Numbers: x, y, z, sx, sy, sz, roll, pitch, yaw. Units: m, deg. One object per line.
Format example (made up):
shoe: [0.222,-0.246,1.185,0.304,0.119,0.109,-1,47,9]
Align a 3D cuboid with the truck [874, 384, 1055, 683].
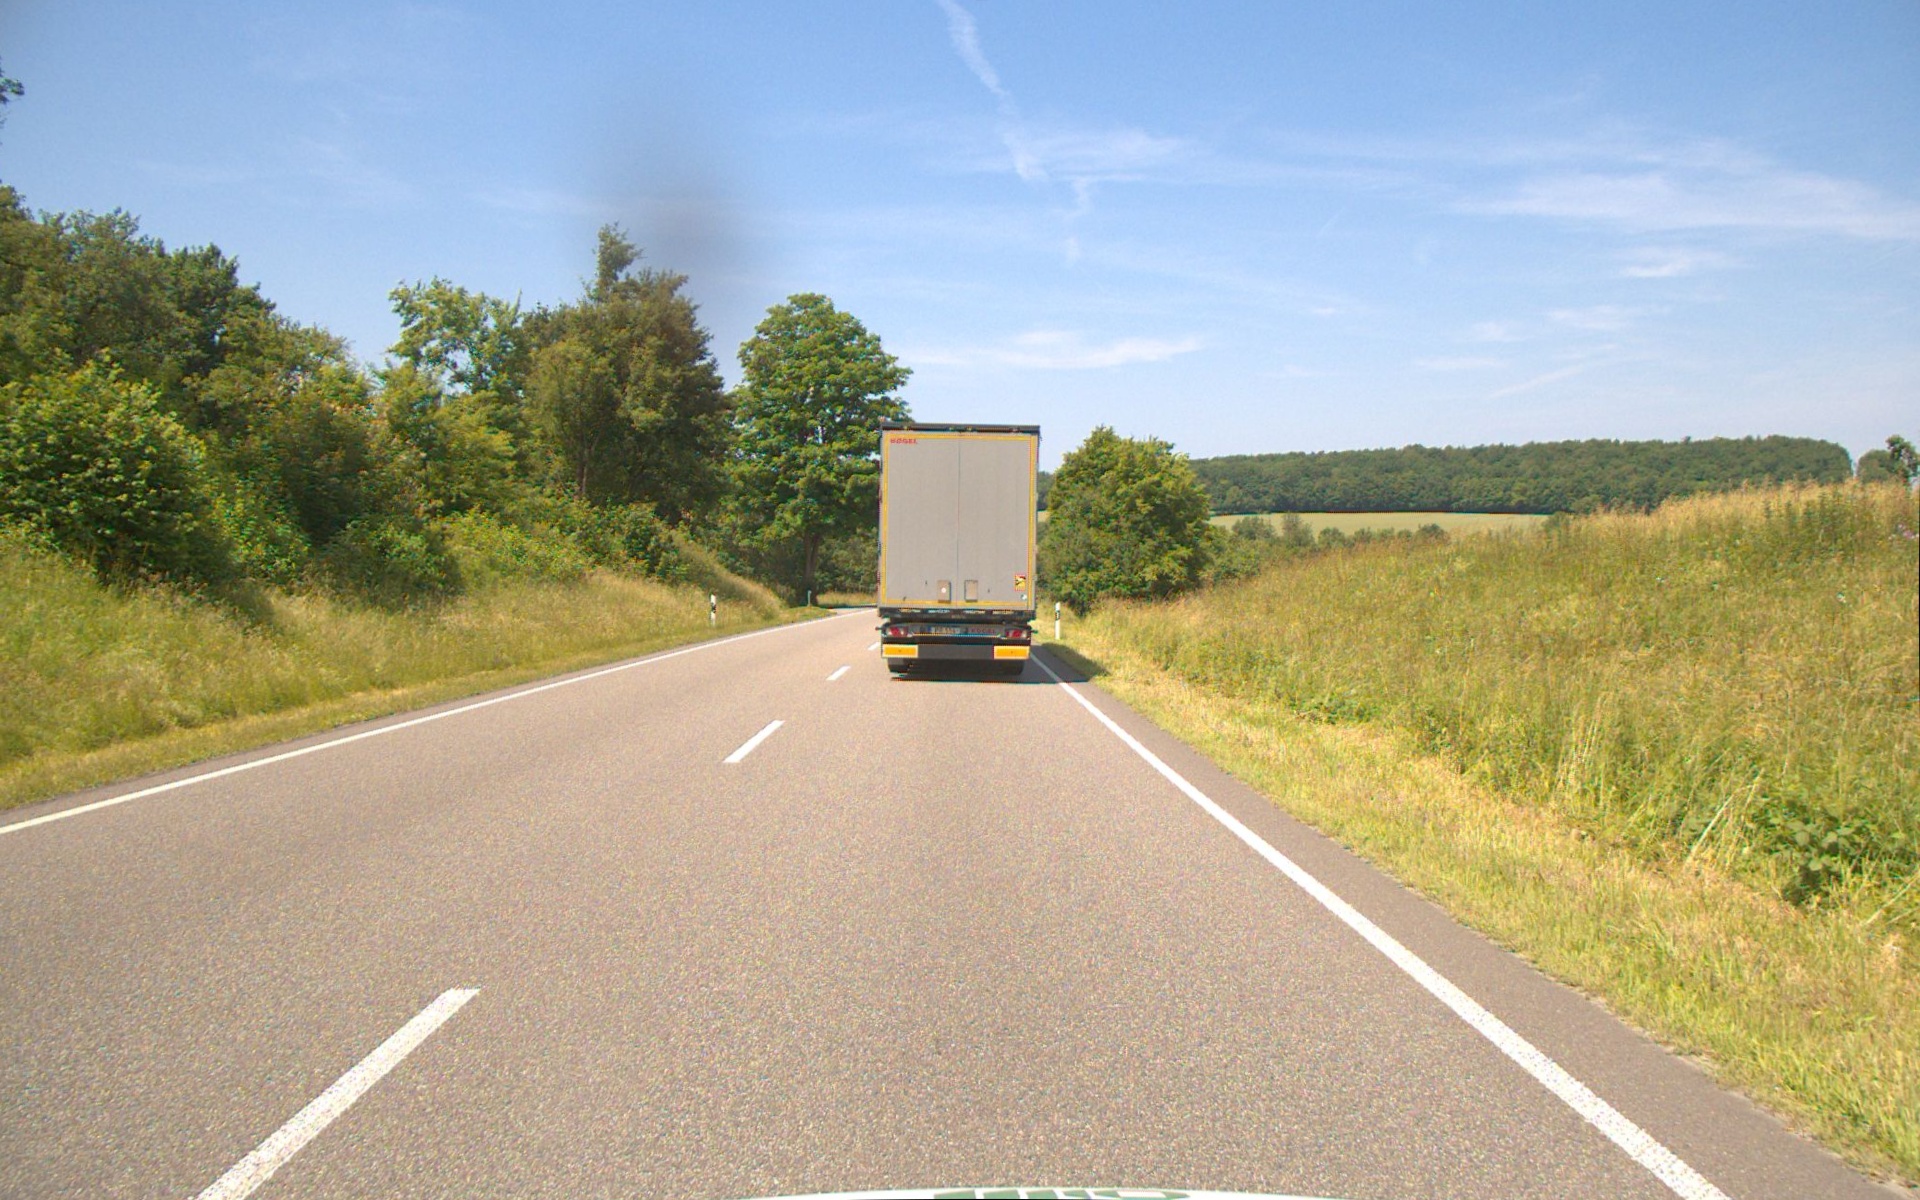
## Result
truck: [0.003,-1.098,31.672,2.760,4.611,11.766,1,1,-1]
